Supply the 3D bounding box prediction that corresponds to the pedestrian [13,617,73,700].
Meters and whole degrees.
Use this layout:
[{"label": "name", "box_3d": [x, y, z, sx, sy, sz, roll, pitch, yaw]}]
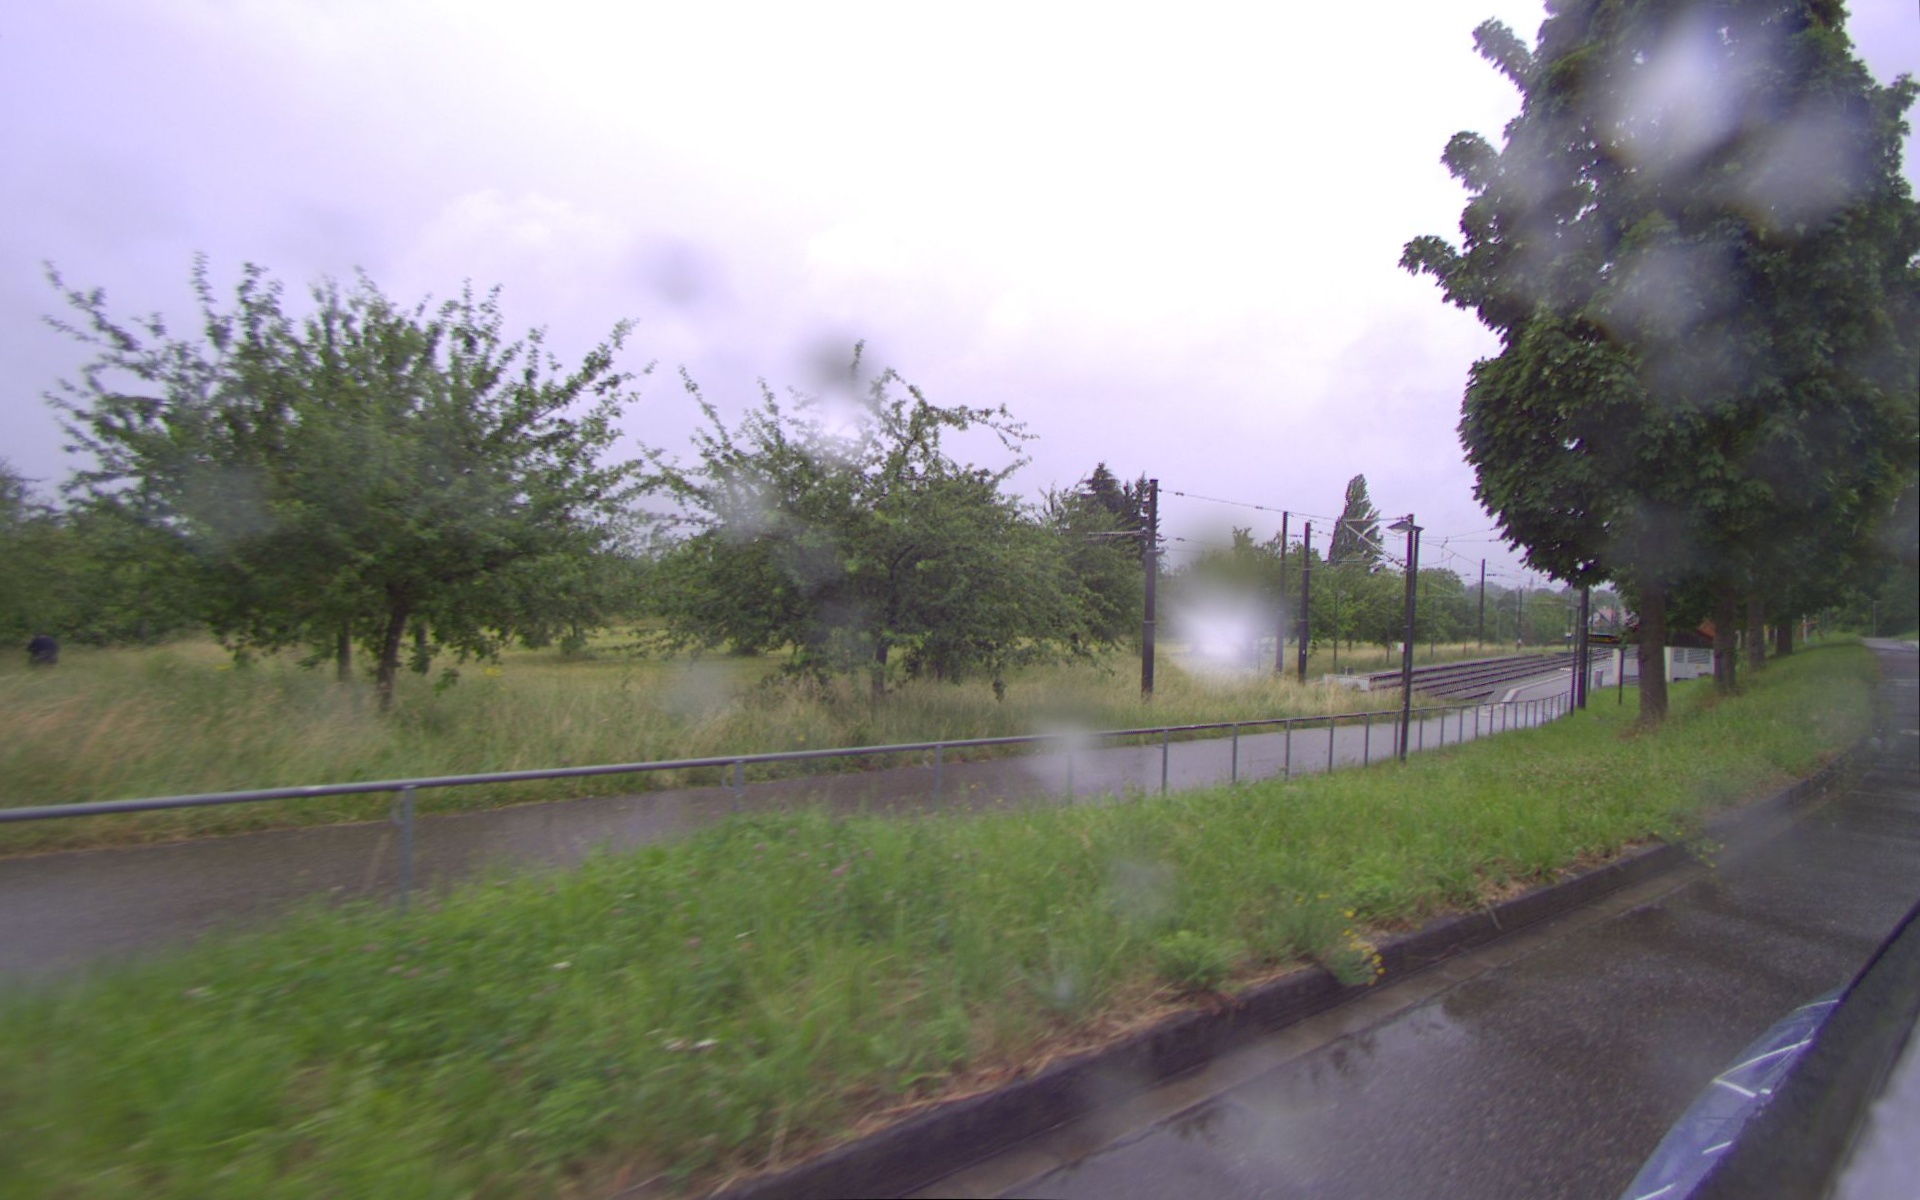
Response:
[{"label": "pedestrian", "box_3d": [-23.219, 1.463, 25.632, 0.758, 2.039, 0.773, 2, -1, 9]}]
